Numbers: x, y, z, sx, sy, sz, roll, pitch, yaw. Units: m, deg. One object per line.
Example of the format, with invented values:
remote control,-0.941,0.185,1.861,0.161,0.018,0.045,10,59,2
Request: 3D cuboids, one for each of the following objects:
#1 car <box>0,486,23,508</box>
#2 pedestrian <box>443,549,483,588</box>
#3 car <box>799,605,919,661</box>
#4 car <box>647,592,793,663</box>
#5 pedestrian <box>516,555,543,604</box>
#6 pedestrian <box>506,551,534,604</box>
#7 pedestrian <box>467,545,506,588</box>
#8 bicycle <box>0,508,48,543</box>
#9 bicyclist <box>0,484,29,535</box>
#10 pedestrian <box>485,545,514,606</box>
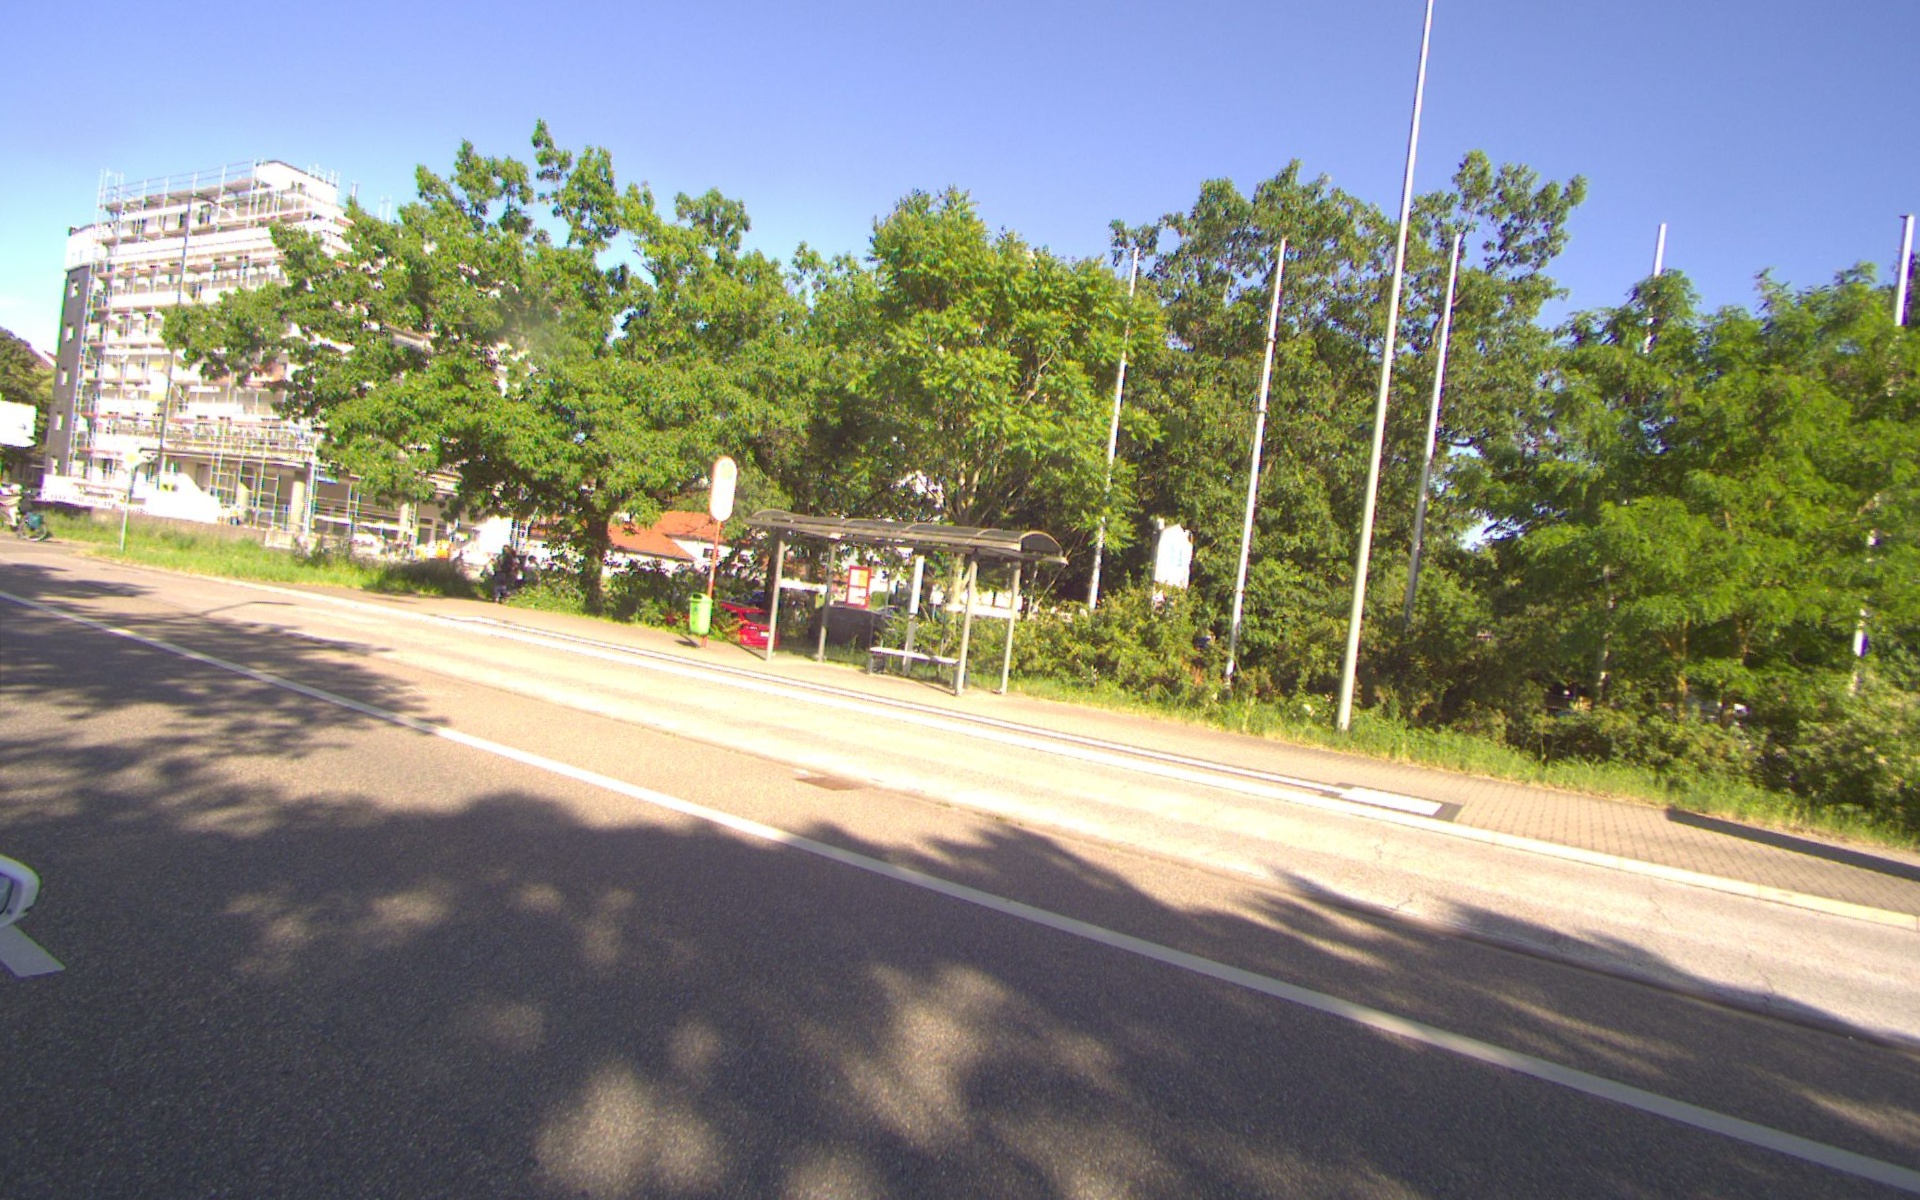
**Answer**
car,-66.606,-7.218,70.164,1.521,1.330,3.250,7,0,-40
pedestrian,-20.372,-1.287,41.234,0.948,1.465,0.895,7,0,17
car,-3.584,1.178,35.979,3.674,1.504,1.914,7,0,13
car,-6.872,0.792,28.746,3.680,1.504,1.755,7,0,28
pedestrian,-13.411,-0.636,31.338,0.517,1.465,0.587,7,1,-32
pedestrian,-12.740,-0.651,29.129,0.517,1.465,0.587,7,1,-32
pedestrian,-19.929,-1.405,42.366,0.969,1.674,0.891,7,0,21
bicycle,-30.463,-2.431,32.224,1.784,0.956,0.553,8,0,-44
bicyclist,-30.338,-2.903,32.264,0.582,1.511,0.543,7,1,-43
pedestrian,-13.023,-0.702,28.441,0.517,1.632,0.587,7,1,-32
